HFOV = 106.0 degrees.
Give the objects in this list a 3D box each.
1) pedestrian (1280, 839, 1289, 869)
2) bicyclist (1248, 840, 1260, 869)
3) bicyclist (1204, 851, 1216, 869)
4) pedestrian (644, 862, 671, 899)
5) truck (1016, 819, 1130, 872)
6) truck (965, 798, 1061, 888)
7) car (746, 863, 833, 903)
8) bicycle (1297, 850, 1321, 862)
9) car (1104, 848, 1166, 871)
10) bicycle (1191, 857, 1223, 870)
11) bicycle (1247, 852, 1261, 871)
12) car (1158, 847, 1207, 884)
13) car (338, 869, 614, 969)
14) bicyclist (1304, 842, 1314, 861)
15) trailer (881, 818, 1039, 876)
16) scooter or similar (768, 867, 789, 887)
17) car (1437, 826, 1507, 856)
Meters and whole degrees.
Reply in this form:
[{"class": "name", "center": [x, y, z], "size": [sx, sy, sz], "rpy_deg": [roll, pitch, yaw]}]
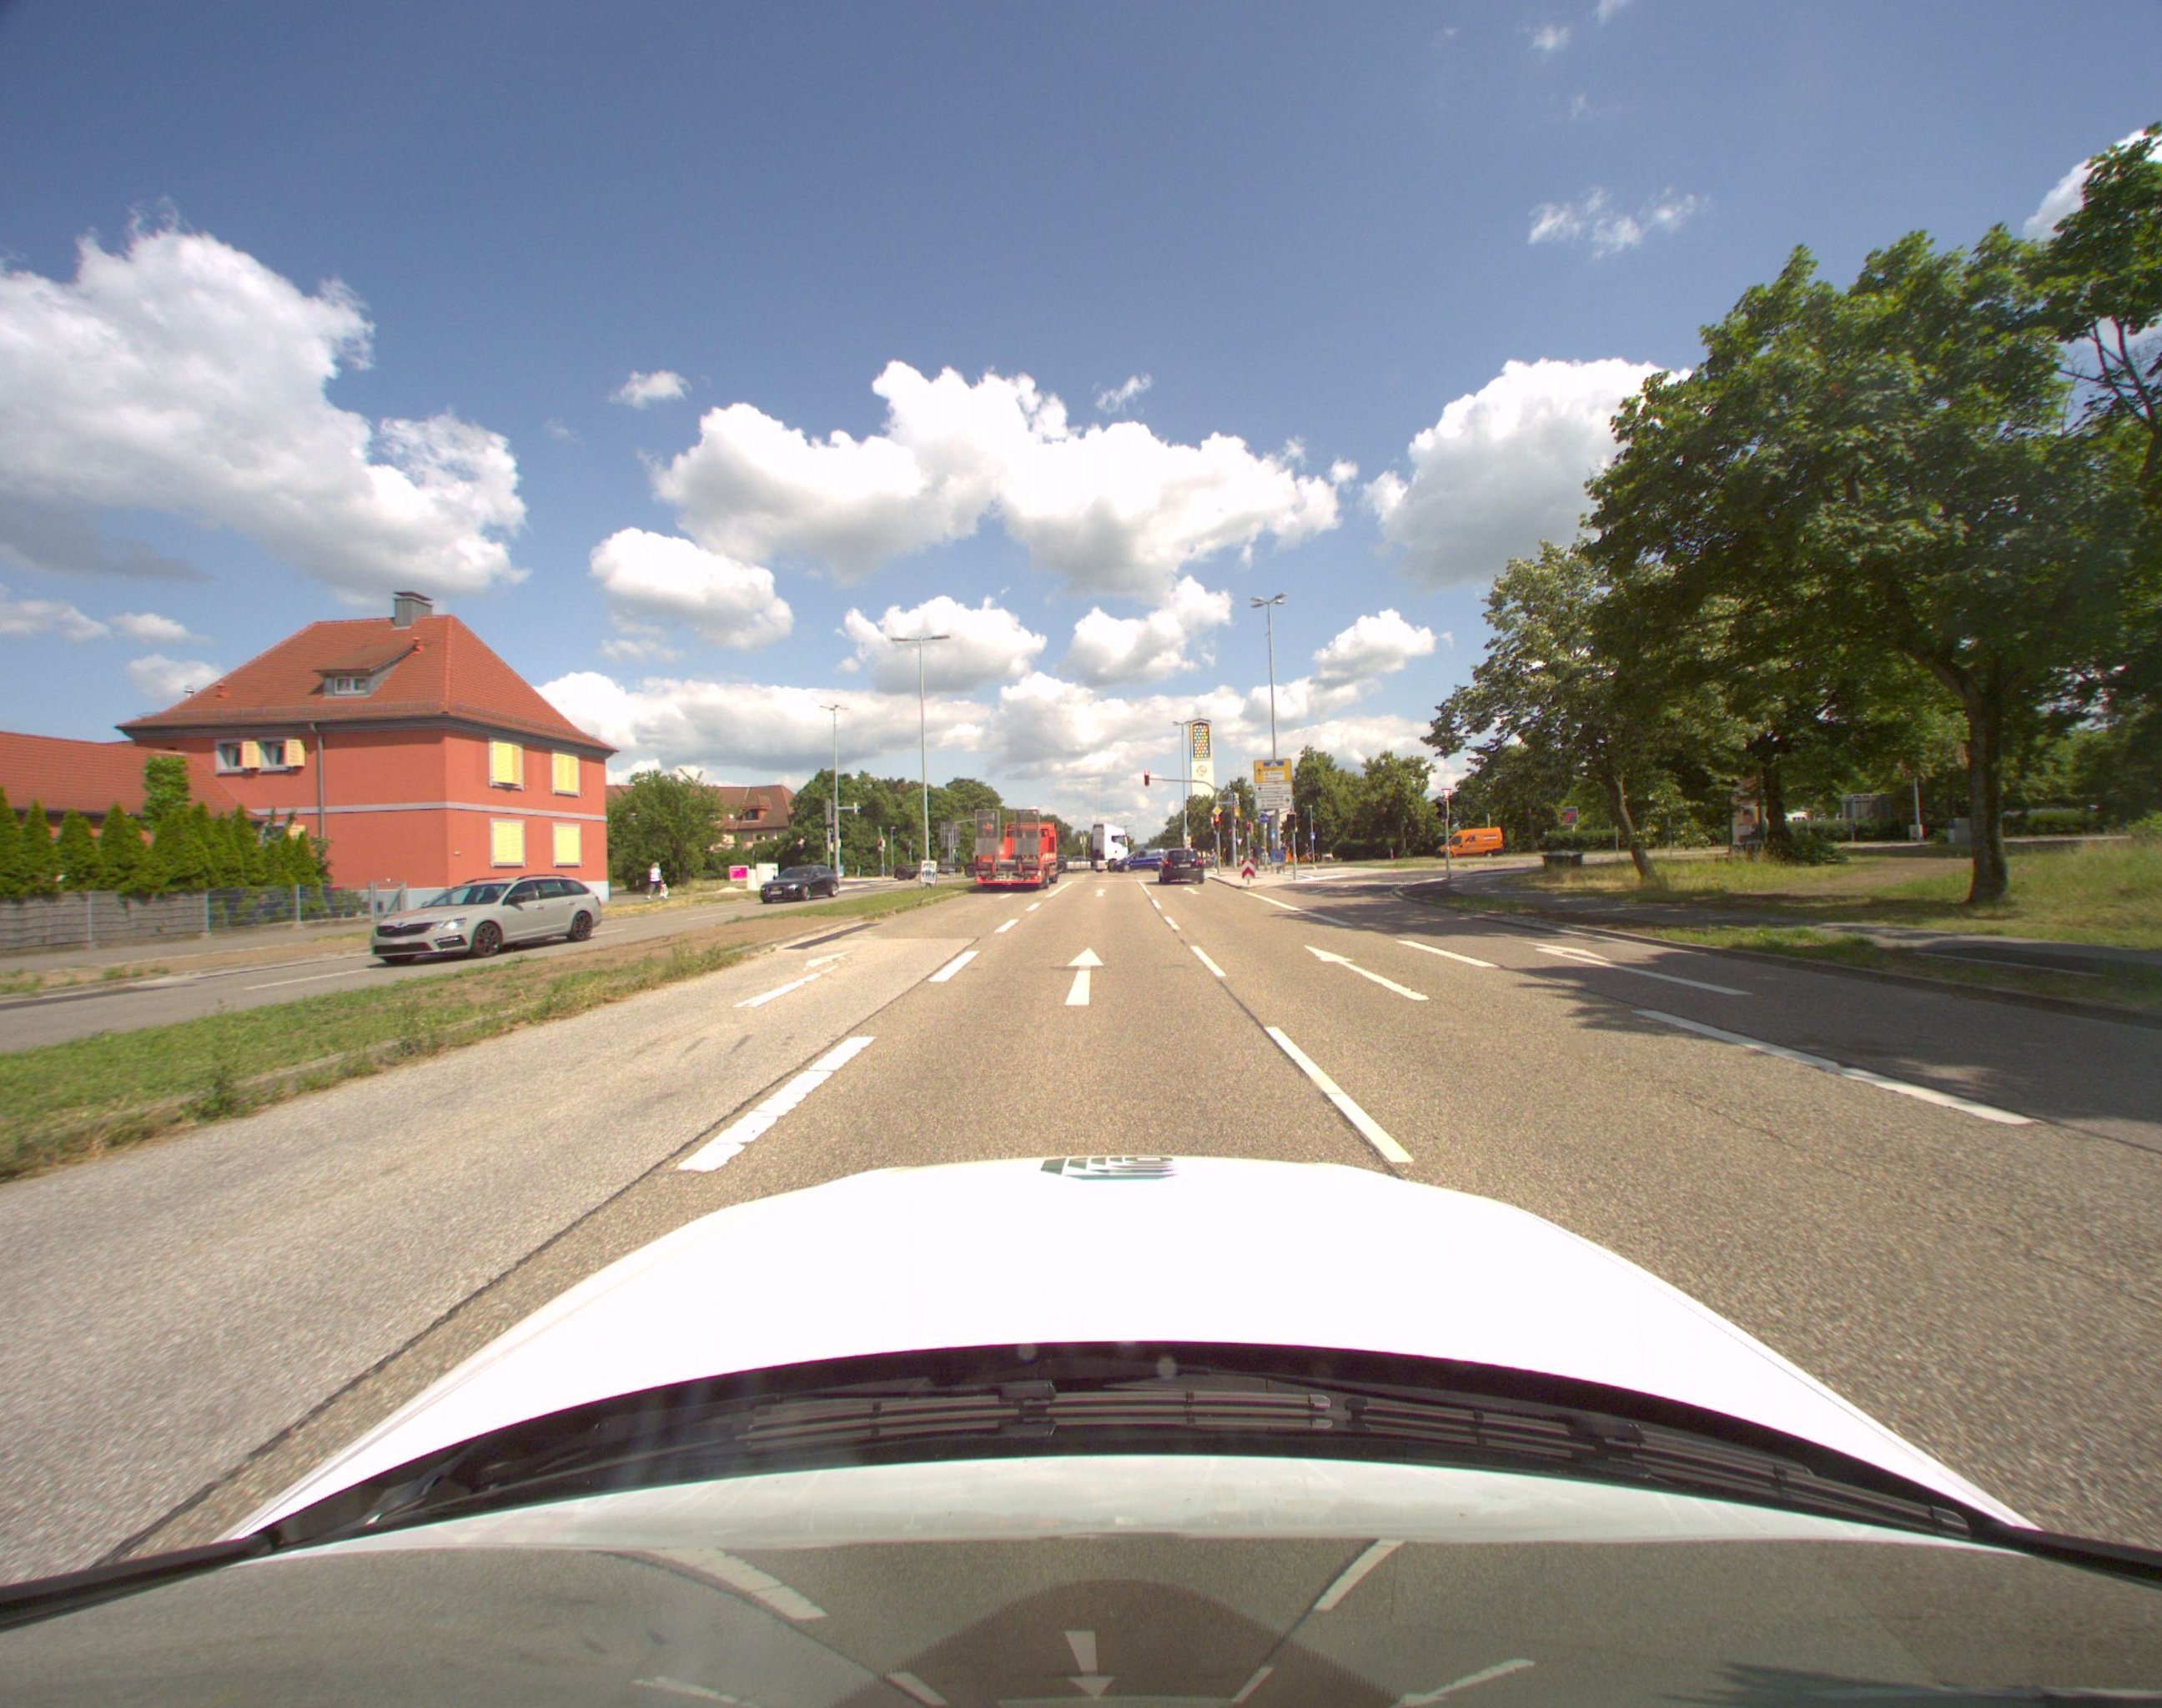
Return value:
[{"class": "pedestrian", "center": [12.058, 0.021, 48.218], "size": [0.461, 1.779, 0.484], "rpy_deg": [0, -1, 12]}, {"class": "bicyclist", "center": [10.312, 0.037, 48.583], "size": [0.643, 1.661, 0.653], "rpy_deg": [0, -1, 17]}, {"class": "bicyclist", "center": [11.460, 0.528, 72.515], "size": [0.702, 1.616, 0.791], "rpy_deg": [-1, -1, -25]}, {"class": "pedestrian", "center": [-18.446, 1.131, 35.450], "size": [0.693, 1.583, 0.851], "rpy_deg": [0, -1, 1]}, {"class": "truck", "center": [-0.585, -0.738, 64.482], "size": [8.659, 3.970, 2.942], "rpy_deg": [-1, 0, -28]}, {"class": "truck", "center": [-2.684, -0.333, 36.160], "size": [3.059, 3.414, 11.070], "rpy_deg": [0, -1, 1]}, {"class": "car", "center": [-11.828, 1.139, 33.429], "size": [1.765, 1.438, 4.577], "rpy_deg": [-3, -1, 1]}, {"class": "bicycle", "center": [21.316, 0.203, 76.164], "size": [1.978, 1.093, 0.690], "rpy_deg": [-2, -1, 27]}, {"class": "car", "center": [3.841, 0.394, 58.488], "size": [4.196, 1.574, 1.851], "rpy_deg": [0, -1, -8]}, {"class": "bicycle", "center": [11.201, 0.824, 72.387], "size": [2.847, 1.112, 0.791], "rpy_deg": [-1, -1, -26]}, {"class": "bicycle", "center": [10.369, 0.451, 48.762], "size": [0.643, 1.108, 1.936], "rpy_deg": [0, -1, 17]}, {"class": "car", "center": [4.503, 0.512, 36.468], "size": [1.793, 1.552, 4.001], "rpy_deg": [0, -1, 1]}, {"class": "car", "center": [-11.510, 1.135, 16.024], "size": [1.726, 1.508, 4.655], "rpy_deg": [-5, -1, 2]}, {"class": "bicyclist", "center": [21.334, -0.224, 76.160], "size": [0.779, 1.804, 0.690], "rpy_deg": [-2, -1, 27]}, {"class": "trailer", "center": [-9.063, -0.525, 62.069], "size": [11.237, 4.012, 3.635], "rpy_deg": [-2, 0, 2]}, {"class": "scooter or similar", "center": [-18.104, 1.357, 48.778], "size": [0.587, 1.164, 1.762], "rpy_deg": [0, -1, 1]}, {"class": "car", "center": [30.750, -1.012, 64.186], "size": [4.803, 2.226, 2.222], "rpy_deg": [0, -1, 20]}]
